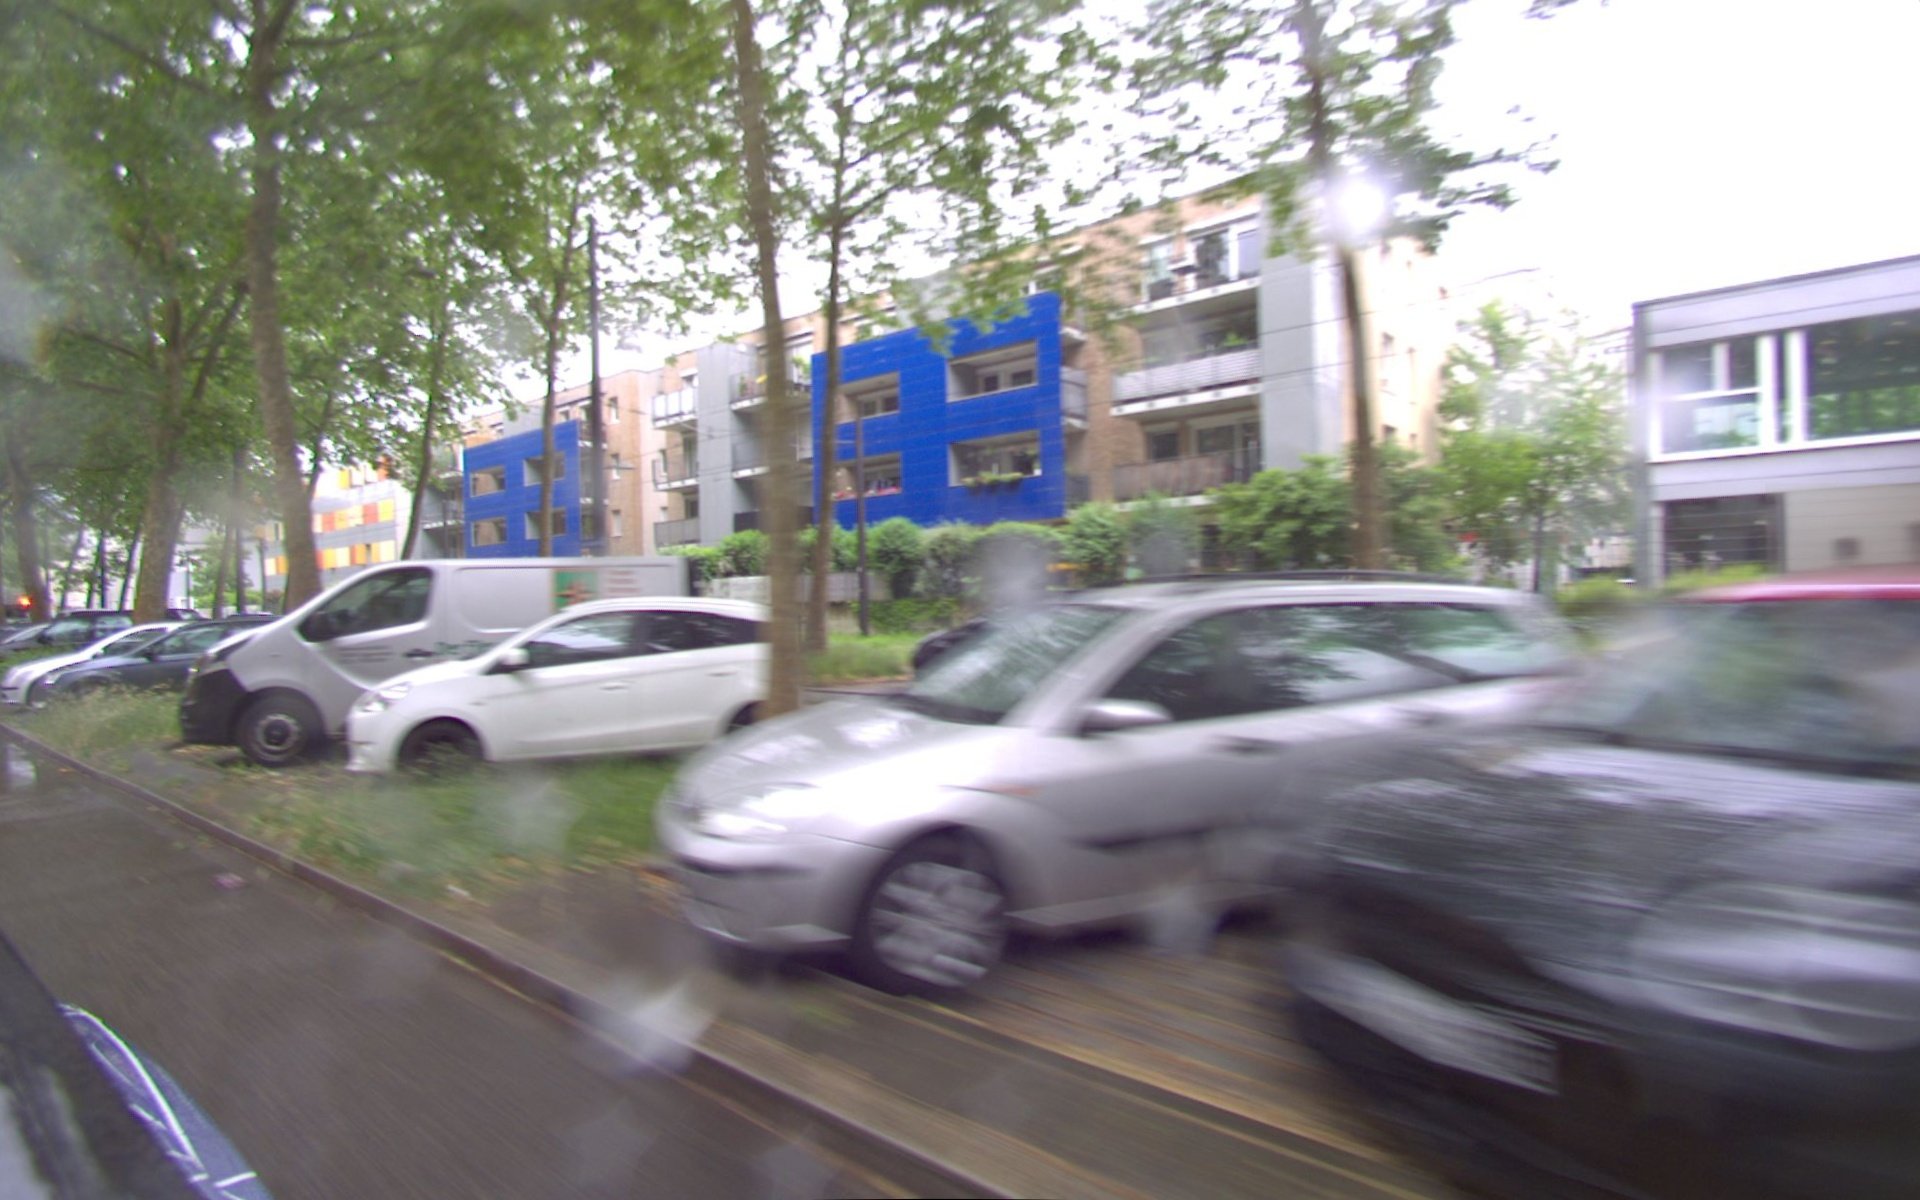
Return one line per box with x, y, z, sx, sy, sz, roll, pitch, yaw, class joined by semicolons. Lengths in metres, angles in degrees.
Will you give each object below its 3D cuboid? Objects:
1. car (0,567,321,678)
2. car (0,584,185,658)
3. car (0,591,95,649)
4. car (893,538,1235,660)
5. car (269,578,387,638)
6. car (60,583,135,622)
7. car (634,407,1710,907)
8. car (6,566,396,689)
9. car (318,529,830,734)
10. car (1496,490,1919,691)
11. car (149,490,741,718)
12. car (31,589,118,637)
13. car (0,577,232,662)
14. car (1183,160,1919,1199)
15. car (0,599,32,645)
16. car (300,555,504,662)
-13.140;0.313;16.825;3.999;1.510;1.753;-3;1;-26;car
-21.250;0.470;23.874;4.342;1.658;1.878;0;0;-18;car
-26.912;0.614;27.971;4.158;1.490;1.749;-3;2;-22;car
1.343;0.008;13.930;4.266;1.431;1.975;-2;1;38;car
-20.573;0.259;32.898;4.417;1.753;1.886;-1;2;39;car
-49.408;0.159;57.936;5.425;2.011;2.035;-1;3;37;car
0.909;0.122;4.597;4.482;1.493;1.780;-1;1;-19;car
-10.883;0.335;14.935;4.242;1.447;1.753;-3;1;-23;car
-3.143;0.188;8.740;3.721;1.493;1.728;-1;1;-18;car
7.212;-0.109;8.994;3.998;1.519;1.973;0;2;41;car
-5.010;-0.019;10.634;5.044;1.992;2.109;-1;1;-19;car
-40.884;0.615;46.677;5.152;2.014;2.019;-1;2;38;car
-18.890;0.398;22.218;4.342;1.672;1.936;-2;1;-22;car
2.696;0.189;2.619;3.752;1.532;1.728;-1;1;-18;car
-34.515;0.856;34.368;3.995;1.549;1.841;-3;2;-24;car
-12.201;0.151;22.001;5.022;2.028;1.975;-1;3;38;car
